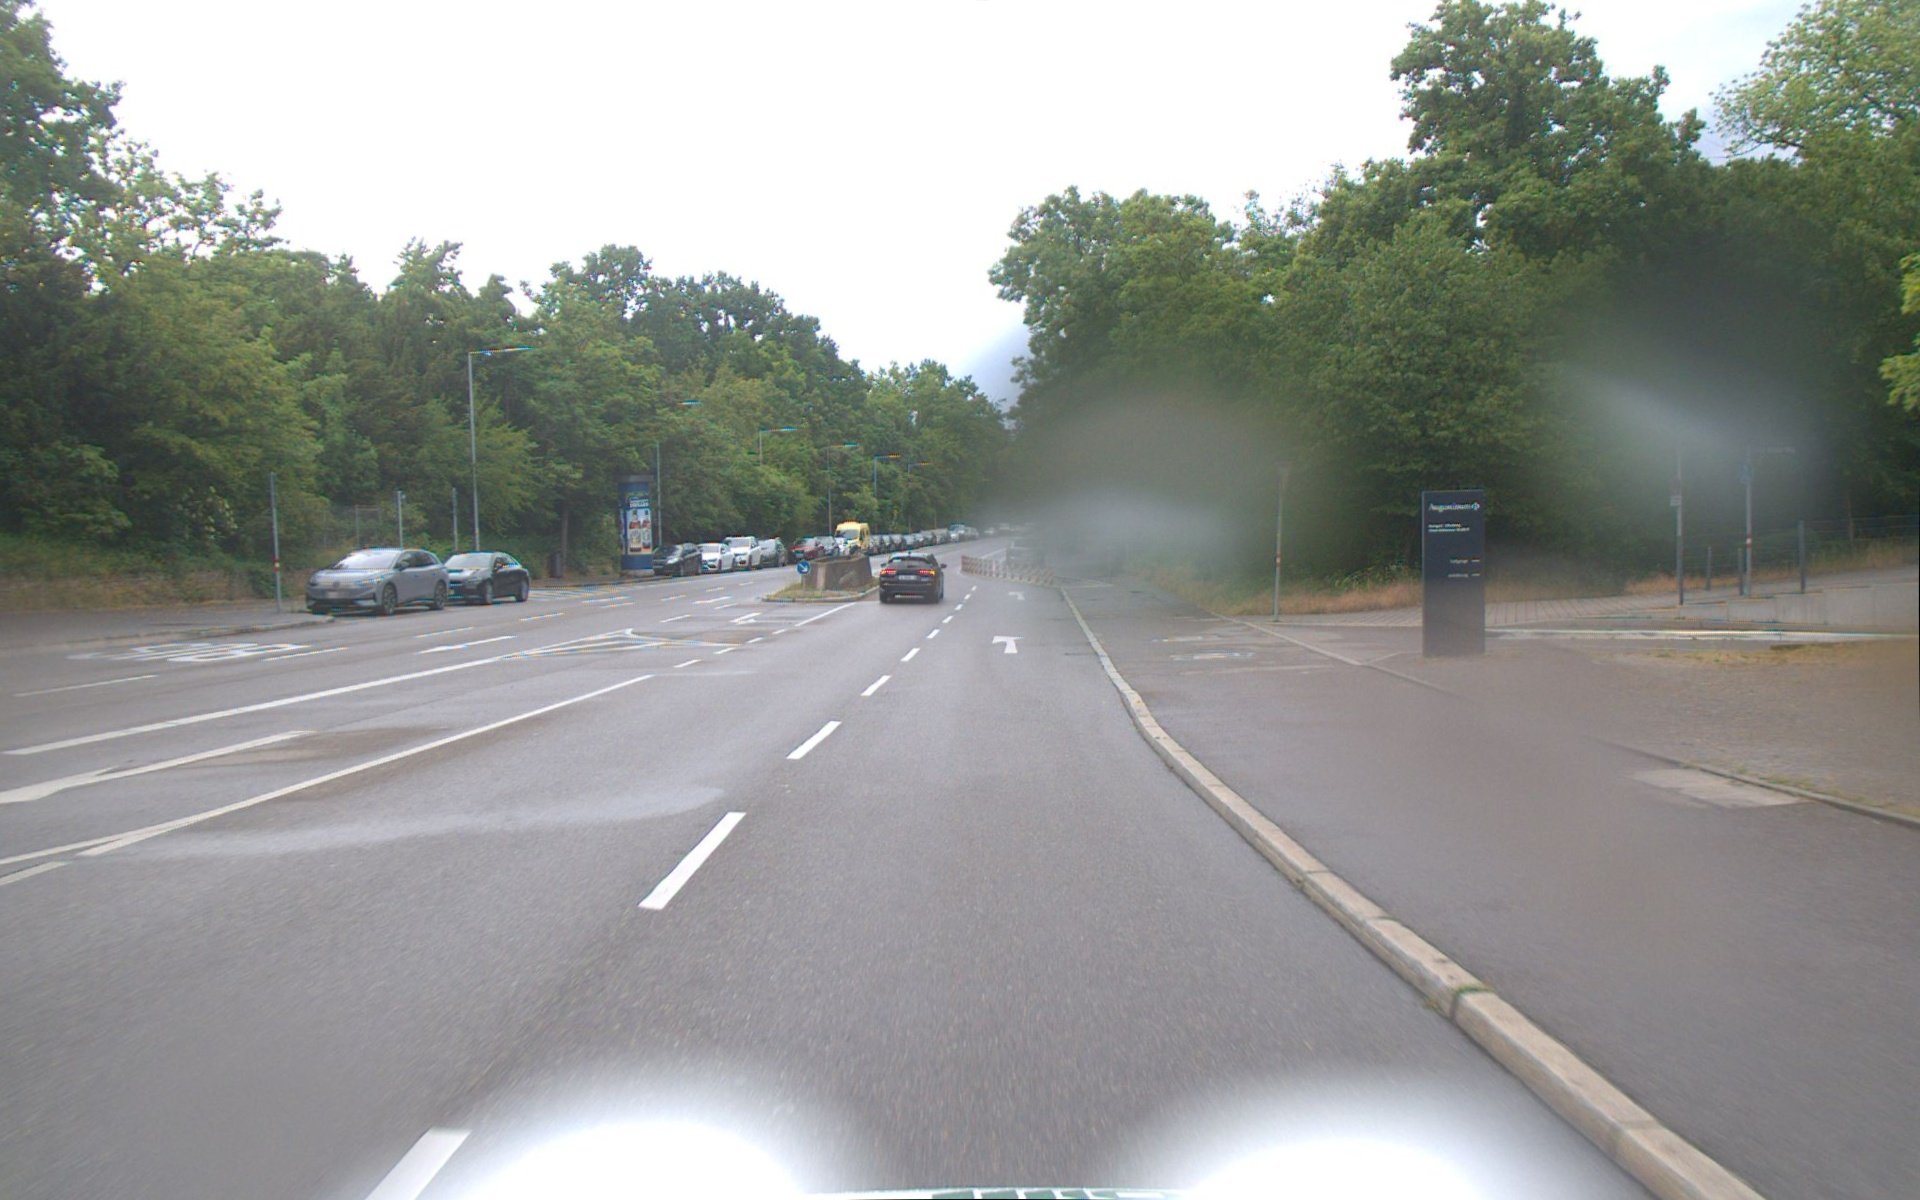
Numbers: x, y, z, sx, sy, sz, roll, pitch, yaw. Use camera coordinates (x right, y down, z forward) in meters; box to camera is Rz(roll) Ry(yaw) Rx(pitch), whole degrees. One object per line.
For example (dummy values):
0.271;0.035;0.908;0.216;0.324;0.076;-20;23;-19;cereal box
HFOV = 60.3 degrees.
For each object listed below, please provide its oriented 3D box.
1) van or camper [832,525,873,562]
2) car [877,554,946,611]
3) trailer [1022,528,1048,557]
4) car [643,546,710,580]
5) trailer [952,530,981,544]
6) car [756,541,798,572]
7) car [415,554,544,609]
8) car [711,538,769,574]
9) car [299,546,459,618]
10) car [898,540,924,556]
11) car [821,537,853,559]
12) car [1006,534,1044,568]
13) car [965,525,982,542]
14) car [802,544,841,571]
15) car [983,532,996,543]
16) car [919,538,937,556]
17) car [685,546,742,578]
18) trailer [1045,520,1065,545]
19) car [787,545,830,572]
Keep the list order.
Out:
-7.961;-4.207;122.995;2.098;2.672;5.688;-1;2;6;van or camper
-1.473;-0.556;48.967;1.844;1.491;3.998;1;3;-4;car
6.012;-4.583;131.525;1.866;2.286;4.772;0;3;5;trailer
-12.810;-1.692;74.976;1.712;1.470;4.592;0;2;8;car
0.799;-7.712;201.523;1.598;1.657;3.659;1;3;36;trailer
-10.421;-2.497;94.377;1.695;1.677;4.574;0;2;2;car
-13.308;-0.545;46.138;1.866;1.439;4.786;1;1;4;car
-11.512;-2.341;86.873;1.951;1.796;4.964;0;2;5;car
-13.993;-0.484;40.163;1.802;1.617;4.932;1;1;4;car
-4.372;-4.706;148.665;1.830;1.326;4.474;0;3;5;car
-8.626;-3.696;116.664;1.583;1.473;3.660;-1;2;6;car
3.233;-2.479;82.776;1.784;1.642;4.253;0;2;1;car
1.700;-8.359;207.602;1.899;2.048;4.743;0;3;3;car
-9.288;-2.886;111.456;1.952;1.729;4.619;-1;3;4;car
4.292;-9.173;241.930;1.637;1.539;3.633;0;3;5;car
-3.038;-5.060;157.137;1.430;1.598;2.987;-1;2;5;car
-12.074;-1.887;81.292;1.682;1.485;4.712;0;2;5;car
10.250;-7.290;177.871;2.087;2.604;4.300;0;2;3;trailer
-9.669;-2.675;106.060;1.878;1.645;4.494;-1;2;6;car
